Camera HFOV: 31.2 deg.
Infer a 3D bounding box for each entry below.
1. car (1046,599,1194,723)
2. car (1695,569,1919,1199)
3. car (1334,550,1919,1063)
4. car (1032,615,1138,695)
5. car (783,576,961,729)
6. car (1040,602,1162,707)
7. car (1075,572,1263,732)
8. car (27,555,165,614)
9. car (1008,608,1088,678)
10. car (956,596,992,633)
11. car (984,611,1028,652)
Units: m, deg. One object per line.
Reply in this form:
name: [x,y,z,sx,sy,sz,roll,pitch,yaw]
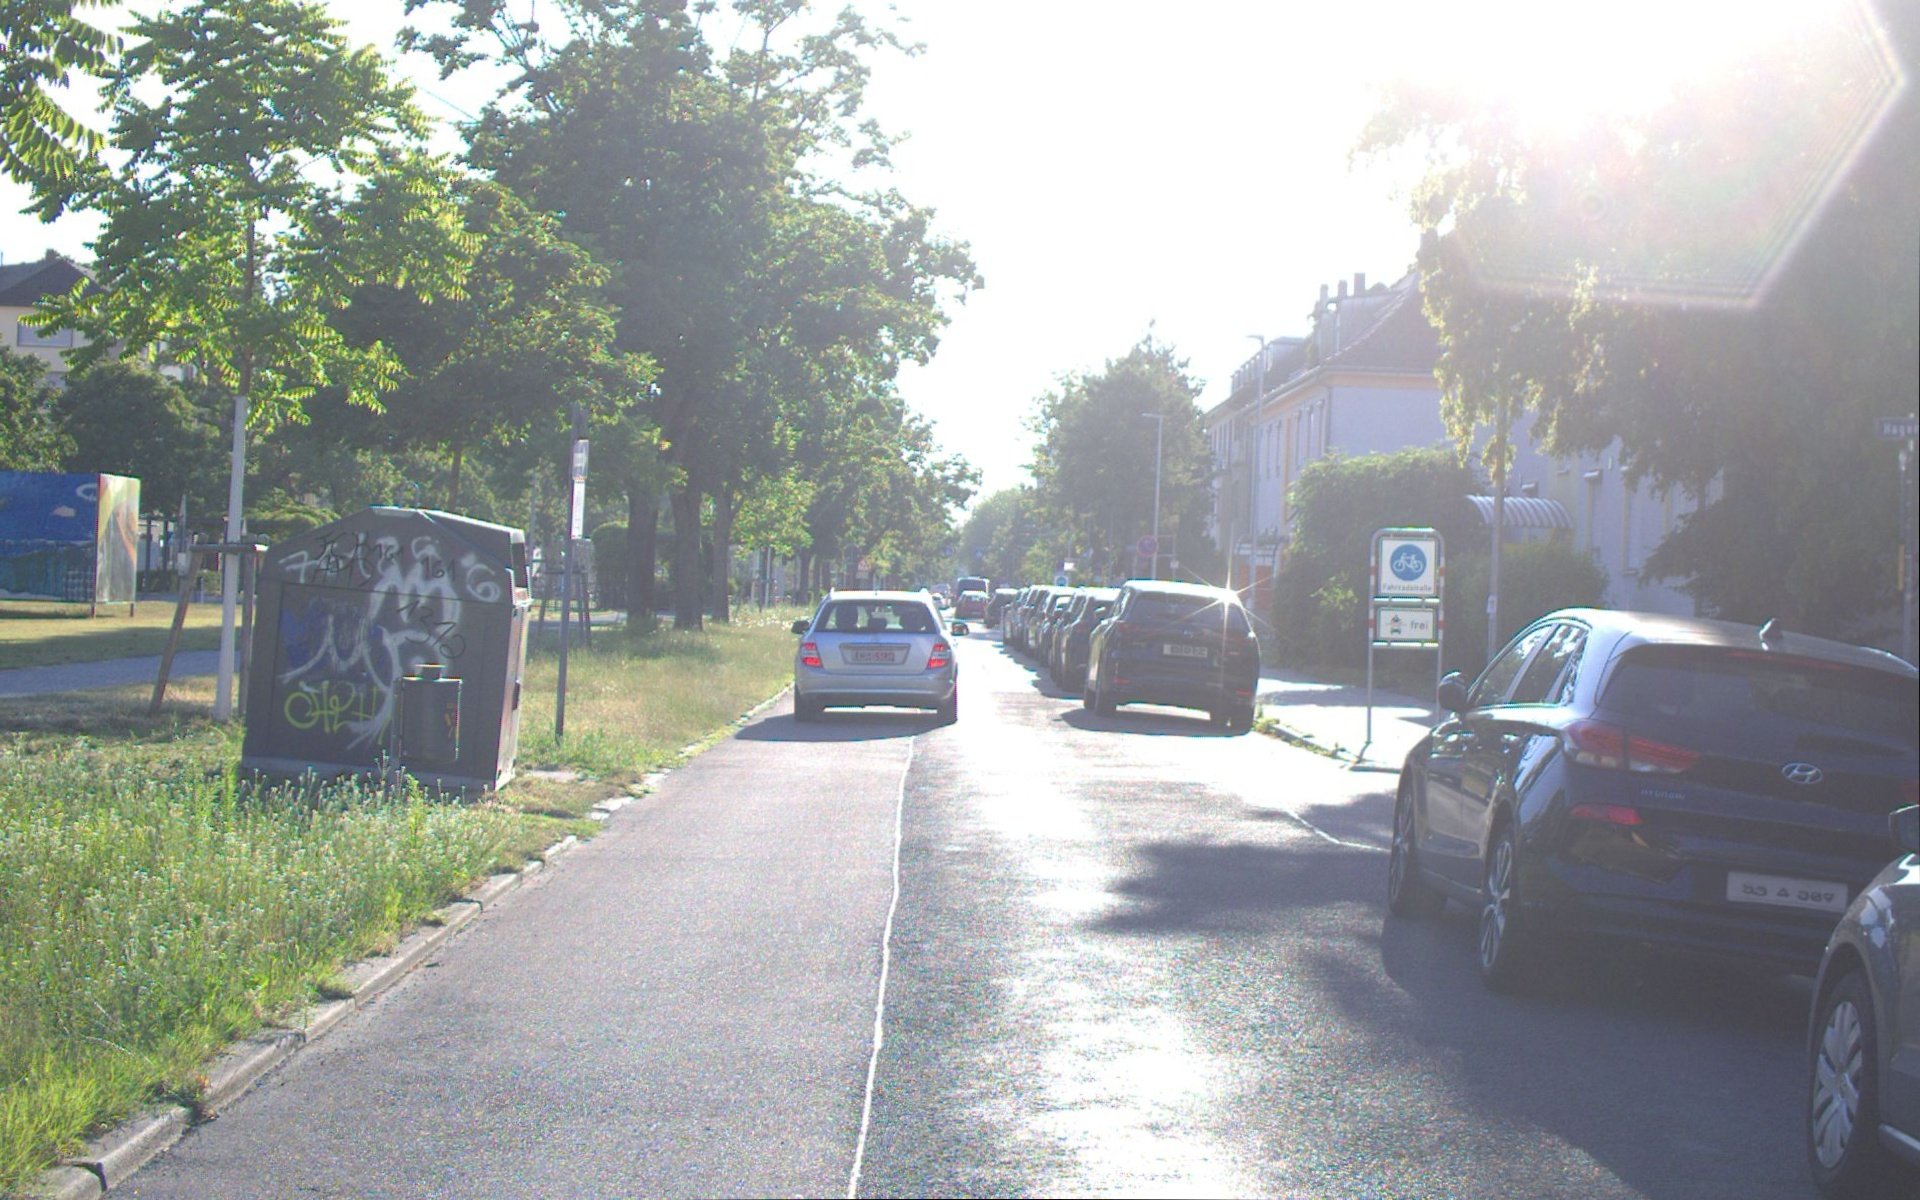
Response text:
car: [2.484,0.930,54.424,1.933,1.714,4.621,5,0,-1]
car: [2.963,0.783,7.472,1.687,1.522,4.174,6,0,0]
car: [2.794,0.735,14.182,1.822,1.556,4.621,8,0,0]
car: [2.526,1.108,70.303,1.993,1.457,4.561,4,0,1]
car: [-0.923,0.549,38.056,1.823,1.561,4.000,1,0,0]
car: [2.415,0.921,59.949,1.854,1.651,4.819,3,0,0]
car: [2.525,0.649,42.635,1.832,1.726,5.032,5,-1,-1]
car: [-43.285,-0.763,172.276,6.294,2.711,2.003,3,0,-30]
car: [2.196,1.084,86.760,1.777,1.637,4.756,2,-1,-1]
car: [0.816,0.857,199.081,1.988,2.016,4.000,3,-1,0]
car: [1.861,1.298,140.854,1.721,1.591,4.000,2,-1,0]
